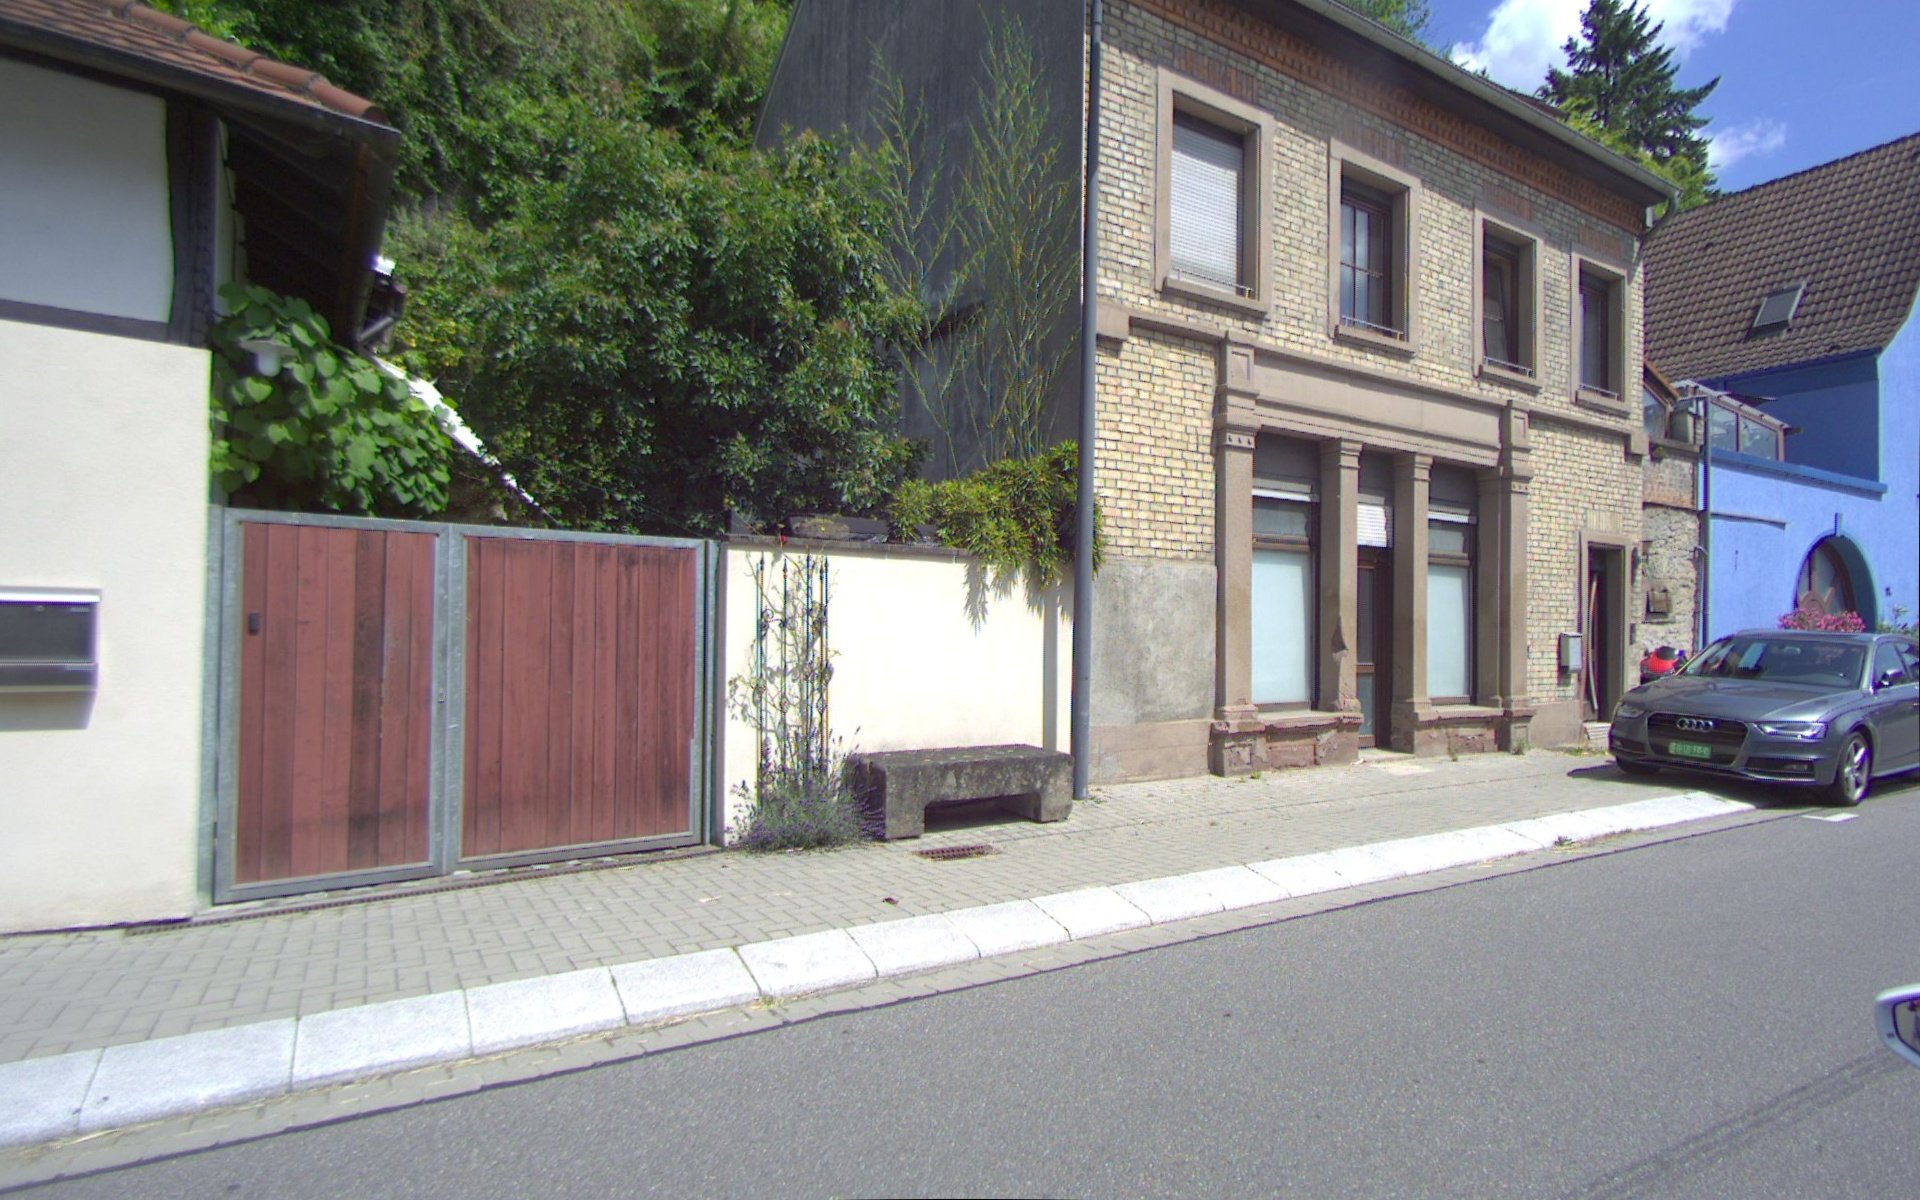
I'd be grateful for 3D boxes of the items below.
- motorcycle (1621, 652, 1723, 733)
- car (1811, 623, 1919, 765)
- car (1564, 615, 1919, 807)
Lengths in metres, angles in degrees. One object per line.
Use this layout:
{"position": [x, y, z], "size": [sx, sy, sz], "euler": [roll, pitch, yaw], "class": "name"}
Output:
{"position": [9.658, 1.234, 13.601], "size": [1.838, 1.014, 0.415], "euler": [2, 3, -33], "class": "motorcycle"}
{"position": [12.445, 1.084, 12.100], "size": [4.613, 1.484, 1.876], "euler": [1, 2, -30], "class": "car"}
{"position": [8.146, 0.971, 9.918], "size": [4.496, 1.485, 1.946], "euler": [3, -2, -32], "class": "car"}
